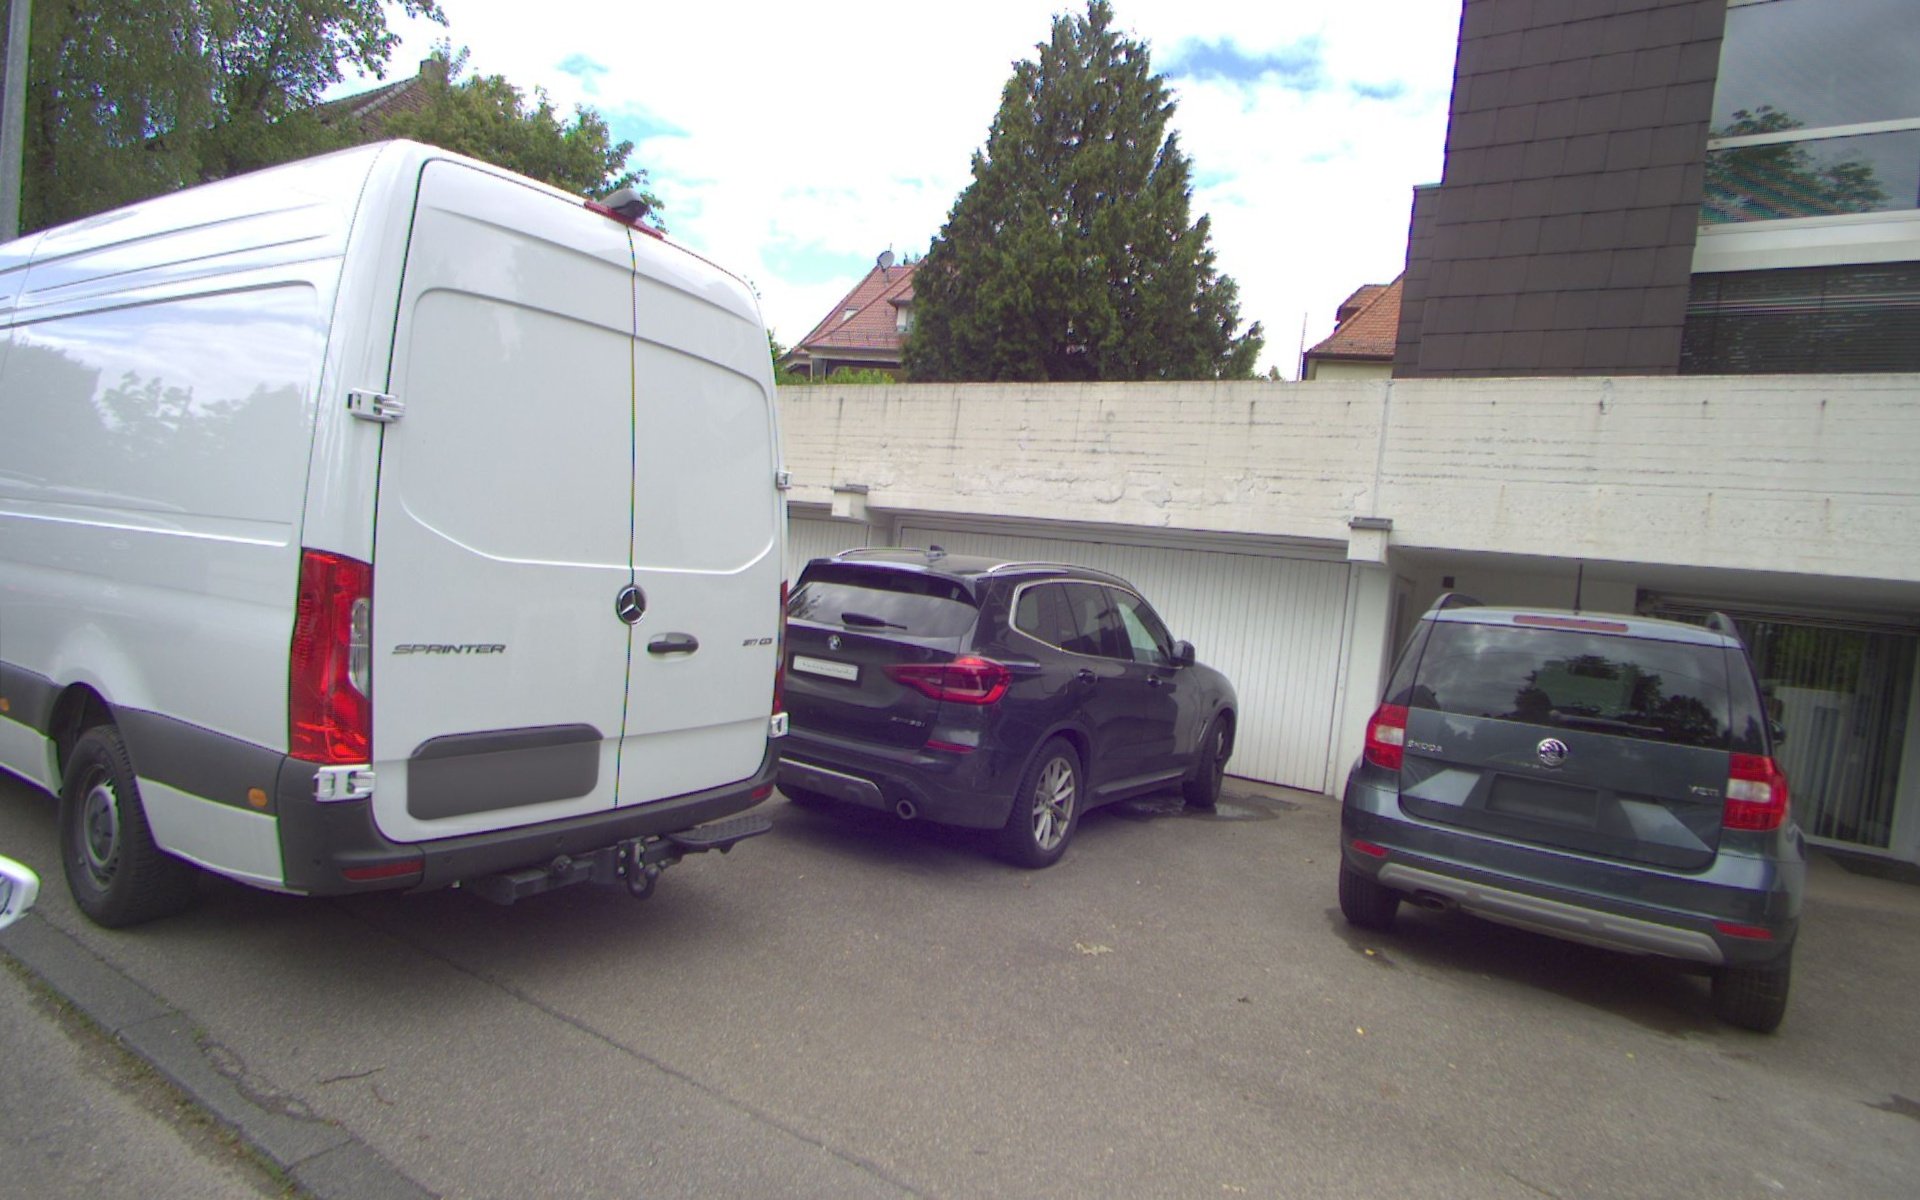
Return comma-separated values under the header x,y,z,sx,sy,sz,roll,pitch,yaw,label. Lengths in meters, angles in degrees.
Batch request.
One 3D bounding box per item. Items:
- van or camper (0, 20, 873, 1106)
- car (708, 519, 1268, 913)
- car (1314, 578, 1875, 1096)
x,y,z,sx,sy,sz,roll,pitch,yaw,label
-3.684,-0.325,5.015,6.436,2.661,1.990,6,3,32,van or camper
0.574,0.593,6.801,1.668,1.696,4.384,6,1,32,car
3.463,0.914,5.556,1.717,1.672,3.899,6,1,35,car
